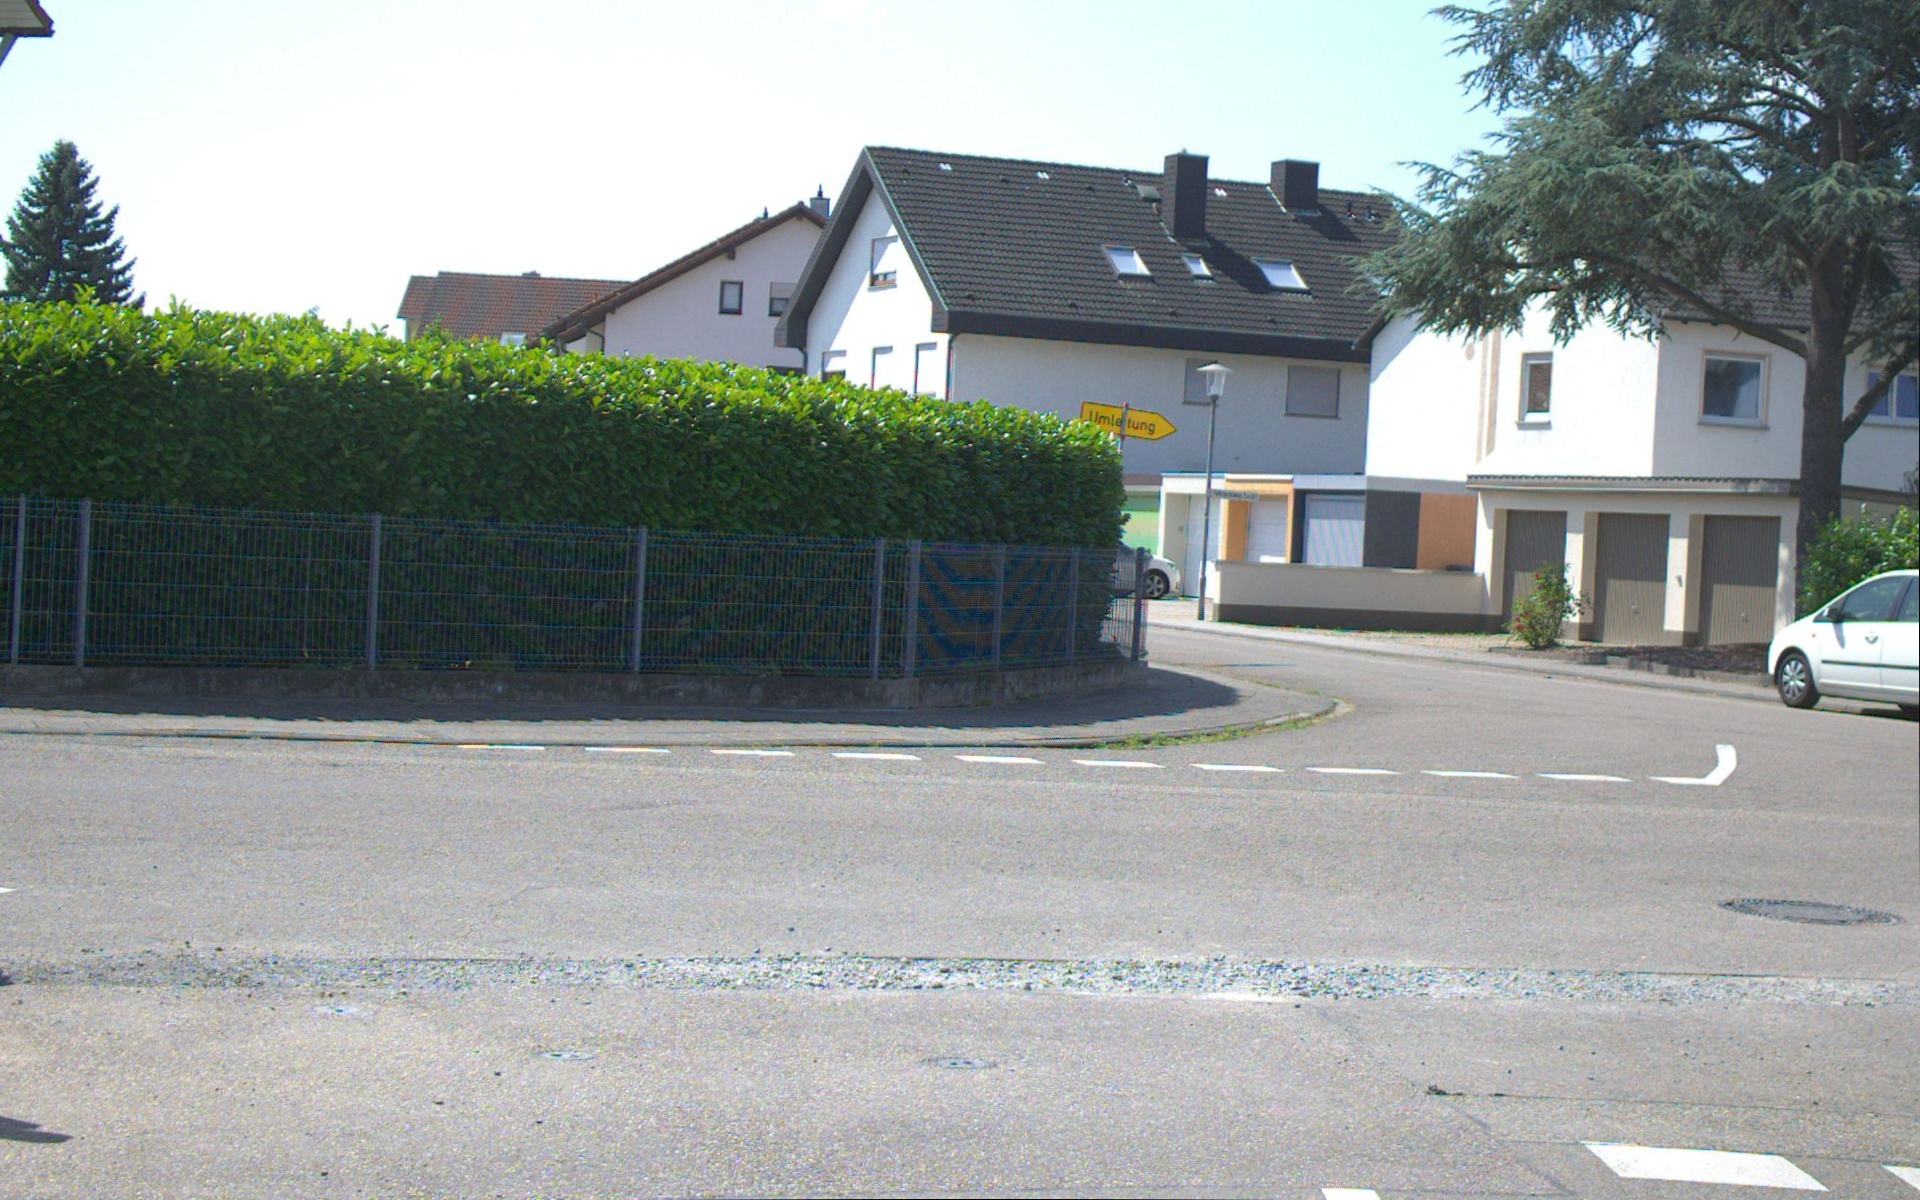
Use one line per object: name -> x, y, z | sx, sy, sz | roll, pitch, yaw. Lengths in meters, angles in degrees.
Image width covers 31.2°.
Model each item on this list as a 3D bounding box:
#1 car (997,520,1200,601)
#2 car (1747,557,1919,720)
car -> 2.785, -0.797, 69.145 | 3.598, 1.403, 1.785 | 3, 1, -21
car -> 10.308, 0.446, 36.115 | 1.797, 1.557, 4.145 | 3, 2, -23
